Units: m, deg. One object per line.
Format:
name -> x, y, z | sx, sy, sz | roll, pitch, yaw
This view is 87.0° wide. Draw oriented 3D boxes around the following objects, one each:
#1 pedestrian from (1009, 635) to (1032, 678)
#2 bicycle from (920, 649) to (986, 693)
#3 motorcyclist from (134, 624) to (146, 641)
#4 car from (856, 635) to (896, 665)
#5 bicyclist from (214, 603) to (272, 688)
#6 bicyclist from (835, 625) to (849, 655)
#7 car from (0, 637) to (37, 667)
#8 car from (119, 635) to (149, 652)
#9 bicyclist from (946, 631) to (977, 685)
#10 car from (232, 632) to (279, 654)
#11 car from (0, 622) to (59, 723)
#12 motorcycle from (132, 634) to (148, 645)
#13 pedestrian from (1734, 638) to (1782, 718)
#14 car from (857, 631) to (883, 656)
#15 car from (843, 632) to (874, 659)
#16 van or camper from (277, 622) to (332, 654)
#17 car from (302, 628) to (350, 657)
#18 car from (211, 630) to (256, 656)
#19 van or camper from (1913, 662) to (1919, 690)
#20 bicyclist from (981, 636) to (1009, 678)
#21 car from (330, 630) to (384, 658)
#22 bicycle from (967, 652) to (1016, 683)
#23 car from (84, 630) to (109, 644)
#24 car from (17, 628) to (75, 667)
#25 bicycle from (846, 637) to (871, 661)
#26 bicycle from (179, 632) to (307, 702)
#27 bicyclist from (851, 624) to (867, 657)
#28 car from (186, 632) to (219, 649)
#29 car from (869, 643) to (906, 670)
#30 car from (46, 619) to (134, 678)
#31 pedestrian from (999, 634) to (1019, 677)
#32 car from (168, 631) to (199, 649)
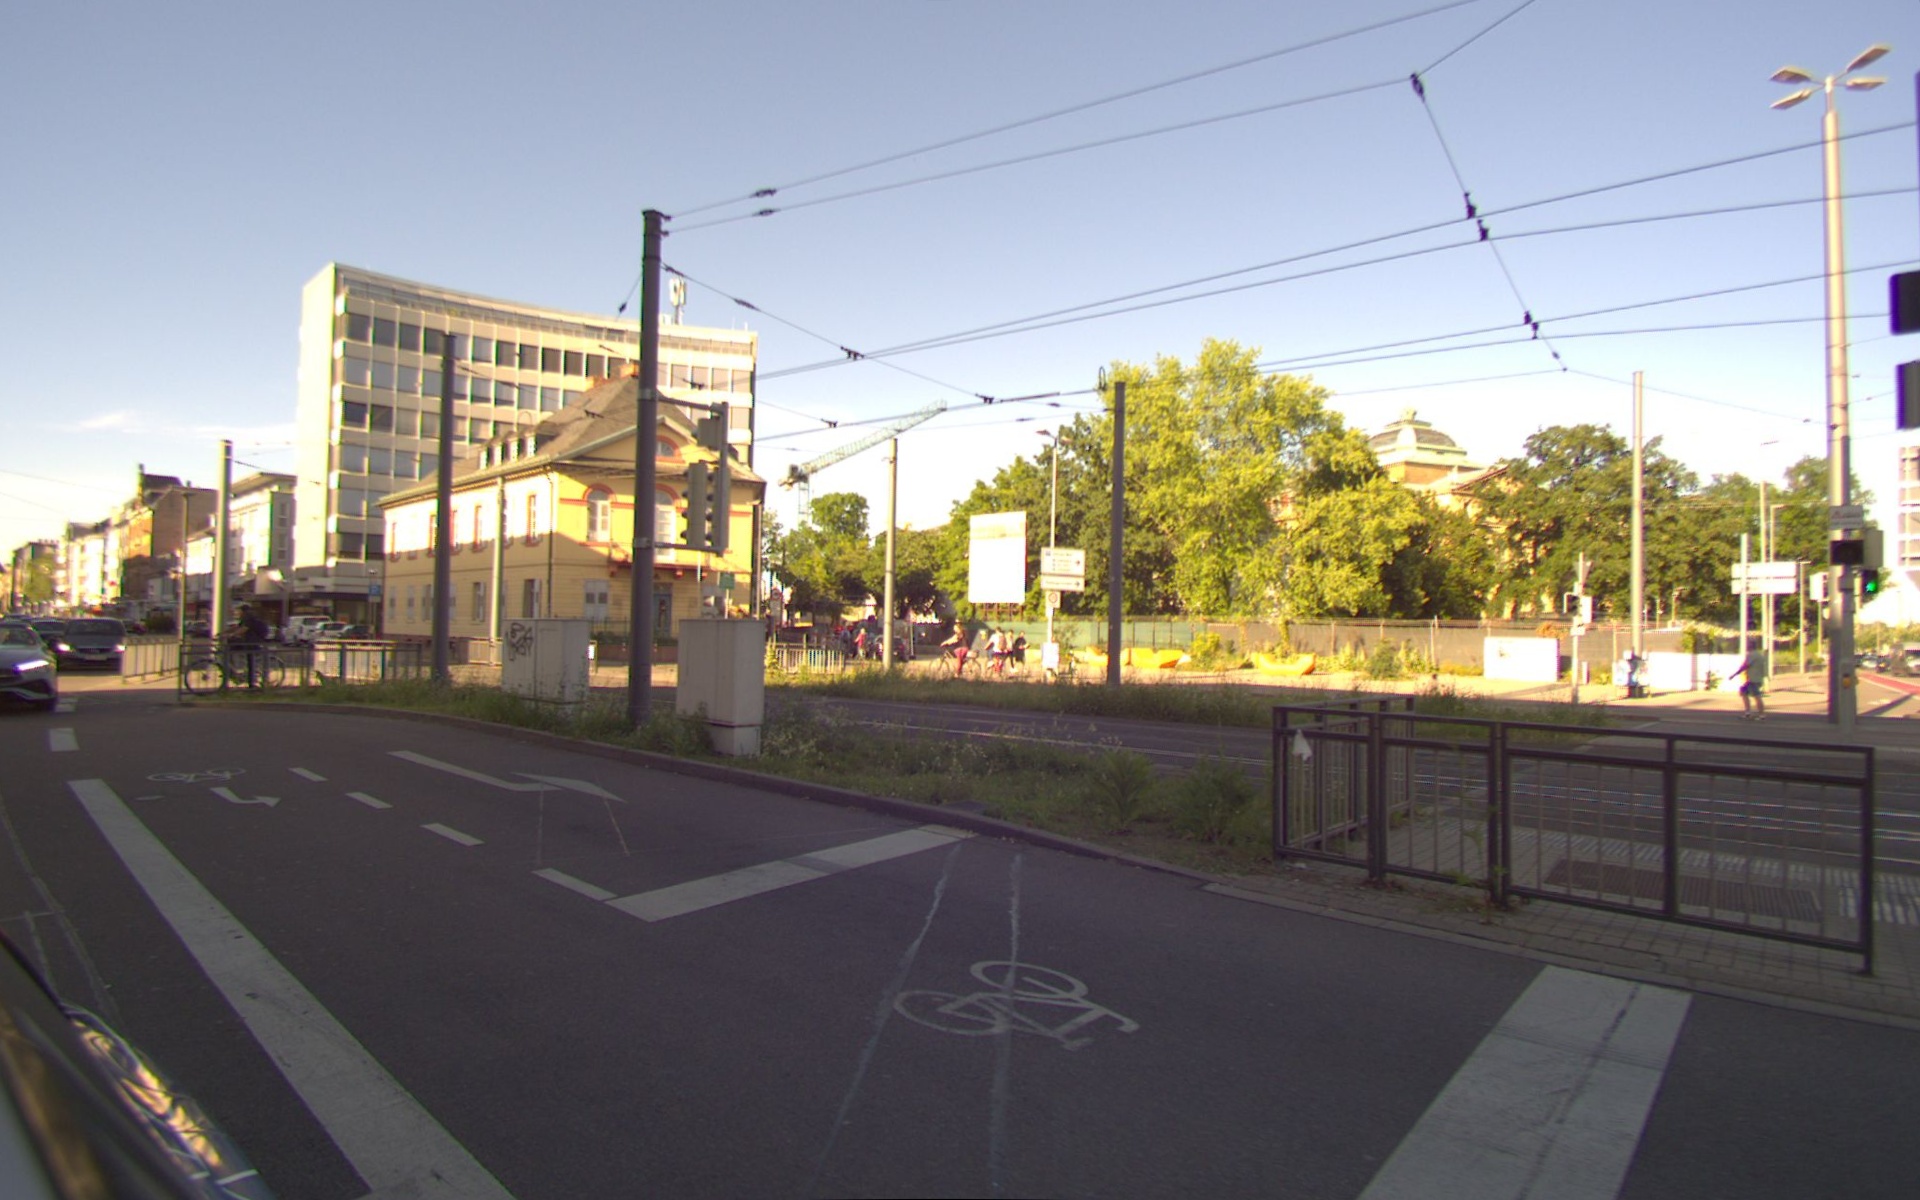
pedestrian -> 2.666, 2.496, 44.818 | 0.695, 1.865, 0.742 | 2, -2, -33
bicycle -> -0.221, 2.191, 31.660 | 2.014, 1.301, 0.571 | 0, -2, 23
motorcyclist -> -76.789, 3.001, 94.801 | 0.882, 1.570, 0.646 | -1, -2, 35
car -> -5.053, 2.981, 60.603 | 1.862, 1.683, 3.873 | 1, -2, -12
bicyclist -> -13.276, 0.834, 18.742 | 0.633, 1.535, 0.675 | -1, -2, 36
bicyclist -> -6.707, 2.248, 57.499 | 0.513, 1.686, 0.773 | 1, -2, -26
car -> -56.332, 3.093, 60.325 | 1.713, 1.676, 3.784 | 5, -4, -44
car -> -81.305, 4.287, 99.586 | 1.756, 1.521, 4.672 | 5, -4, -45
bicyclist -> 0.056, 1.808, 31.560 | 0.801, 1.661, 0.586 | -1, -2, 23
car -> -51.717, 3.119, 74.256 | 4.291, 1.463, 1.905 | -1, -1, 41
car -> -15.906, 1.090, 16.272 | 1.842, 1.450, 4.777 | 3, -2, -45
motorcycle -> -76.750, 3.701, 94.725 | 2.151, 0.933, 0.594 | -1, -2, 36
pedestrian -> 17.485, 1.698, 22.182 | 0.704, 1.701, 0.619 | -3, -3, 34
car -> -6.350, 3.060, 71.023 | 1.775, 1.683, 3.761 | 1, -2, -6
car -> -6.648, 2.954, 65.905 | 1.773, 1.683, 3.763 | 1, -2, -9
van or camper -> -42.160, 2.399, 65.066 | 4.799, 1.988, 1.932 | -1, -1, 44
car -> -38.231, 2.536, 61.008 | 1.755, 1.633, 4.180 | 0, -1, -43
car -> -45.813, 2.698, 63.791 | 4.124, 1.572, 1.665 | -1, -2, 45
van or camper -> 71.356, 5.624, 73.672 | 1.973, 2.016, 4.309 | 0, -2, 31
bicyclist -> 1.253, 2.007, 35.802 | 0.655, 1.465, 0.731 | 2, -2, -42
car -> -34.009, 2.435, 57.022 | 1.756, 1.450, 3.964 | 0, -1, -45
bicycle -> 1.112, 2.373, 35.956 | 0.641, 1.021, 1.887 | 2, -2, -41
car -> -96.939, 4.166, 113.594 | 3.861, 1.521, 1.757 | -2, -4, 44
car -> -42.476, 2.177, 47.021 | 1.758, 1.676, 3.964 | 5, -4, -44
bicycle -> -5.237, 2.529, 52.331 | 0.522, 1.223, 1.891 | 2, -2, -30
bicycle -> -13.261, 1.217, 18.762 | 0.640, 1.221, 1.804 | -1, -2, 35
bicyclist -> -5.247, 2.110, 52.353 | 0.513, 1.686, 0.772 | 2, -2, -31
car -> -68.157, 3.607, 91.004 | 3.598, 1.427, 1.762 | -1, -2, 43
car -> -4.023, 3.074, 55.448 | 1.624, 1.357, 3.767 | 1, -2, -10
car -> -26.817, 1.479, 31.166 | 1.713, 1.676, 3.964 | 5, -4, -44
pedestrian -> 2.147, 2.411, 44.264 | 0.586, 1.831, 0.707 | 2, -2, -33
car -> -72.450, 3.724, 94.425 | 3.835, 1.531, 1.761 | -1, -2, 45
